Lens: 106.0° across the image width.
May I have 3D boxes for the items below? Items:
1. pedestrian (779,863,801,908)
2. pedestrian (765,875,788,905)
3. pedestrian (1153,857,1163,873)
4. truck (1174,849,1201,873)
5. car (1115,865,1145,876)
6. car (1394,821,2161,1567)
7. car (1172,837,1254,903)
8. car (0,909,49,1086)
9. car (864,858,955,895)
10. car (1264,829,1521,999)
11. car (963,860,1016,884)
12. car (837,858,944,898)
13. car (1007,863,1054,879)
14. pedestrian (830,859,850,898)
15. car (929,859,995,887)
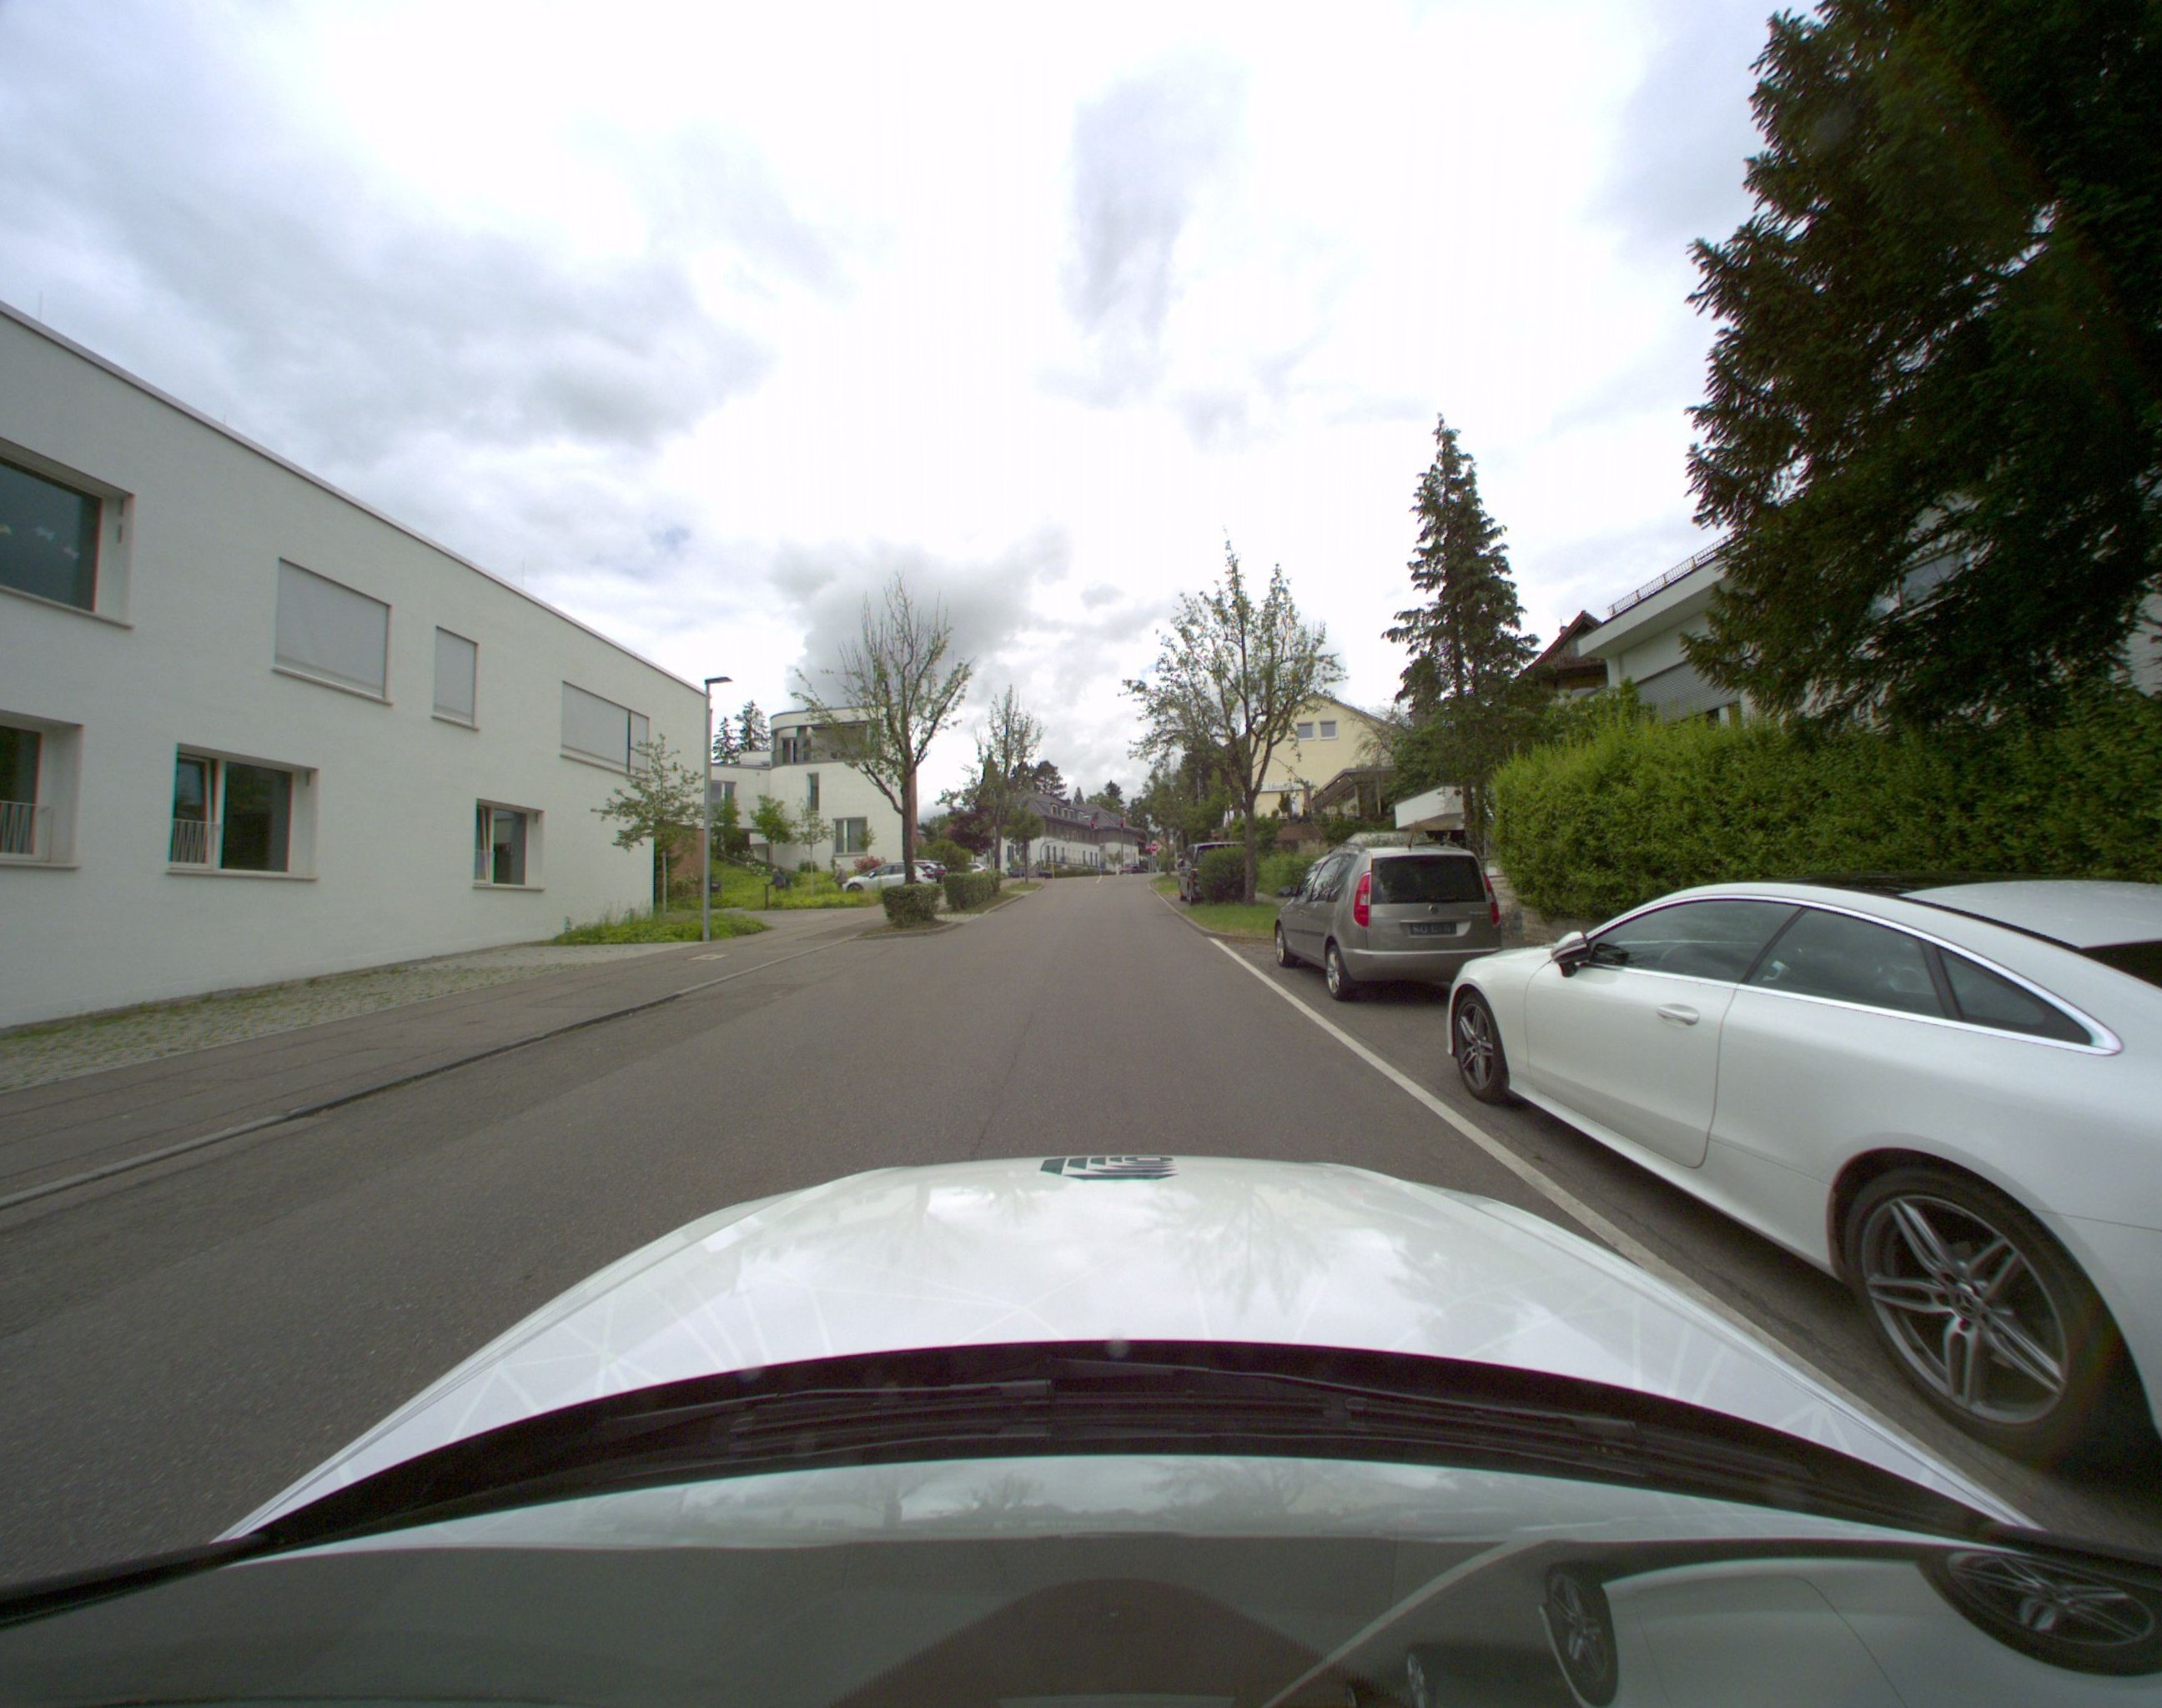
[{"bbox_3d":[-11.343,1.222,31.704,0.586,1.682,0.520,-2,-1,3],"label":"pedestrian"},{"bbox_3d":[-13.242,1.548,35.461,0.604,1.283,0.900,-1,-1,2],"label":"pedestrian"},{"bbox_3d":[8.416,1.174,88.675,0.703,1.682,0.678,-2,-1,-37],"label":"pedestrian"},{"bbox_3d":[11.021,0.784,84.776,2.176,2.195,5.882,-2,-3,1],"label":"truck"},{"bbox_3d":[5.905,1.955,97.433,1.975,1.287,4.024,0,0,29],"label":"car"},{"bbox_3d":[3.273,0.669,3.619,1.985,1.491,5.008,-3,0,3],"label":"car"},{"bbox_3d":[4.117,0.491,26.229,1.929,1.838,5.221,-2,0,2],"label":"car"},{"bbox_3d":[-10.235,1.190,5.603,3.787,1.354,1.739,-2,0,-4],"label":"car"},{"bbox_3d":[-8.463,1.089,40.353,3.971,1.653,2.010,-2,0,2],"label":"car"},{"bbox_3d":[3.461,0.598,9.867,1.710,1.632,3.930,-1,0,2],"label":"car"},{"bbox_3d":[-6.849,1.340,61.287,3.753,1.464,1.729,-3,0,-5],"label":"car"},{"bbox_3d":[-8.792,1.083,37.792,4.372,1.566,2.066,-3,0,0],"label":"car"},{"bbox_3d":[-5.457,1.793,87.767,4.706,1.491,2.150,-2,0,-16],"label":"car"},{"bbox_3d":[-10.484,1.074,35.454,0.591,1.640,0.566,-3,-1,3],"label":"pedestrian"},{"bbox_3d":[-8.248,1.321,56.633,4.248,1.623,2.013,-3,-2,-1],"label":"car"}]
